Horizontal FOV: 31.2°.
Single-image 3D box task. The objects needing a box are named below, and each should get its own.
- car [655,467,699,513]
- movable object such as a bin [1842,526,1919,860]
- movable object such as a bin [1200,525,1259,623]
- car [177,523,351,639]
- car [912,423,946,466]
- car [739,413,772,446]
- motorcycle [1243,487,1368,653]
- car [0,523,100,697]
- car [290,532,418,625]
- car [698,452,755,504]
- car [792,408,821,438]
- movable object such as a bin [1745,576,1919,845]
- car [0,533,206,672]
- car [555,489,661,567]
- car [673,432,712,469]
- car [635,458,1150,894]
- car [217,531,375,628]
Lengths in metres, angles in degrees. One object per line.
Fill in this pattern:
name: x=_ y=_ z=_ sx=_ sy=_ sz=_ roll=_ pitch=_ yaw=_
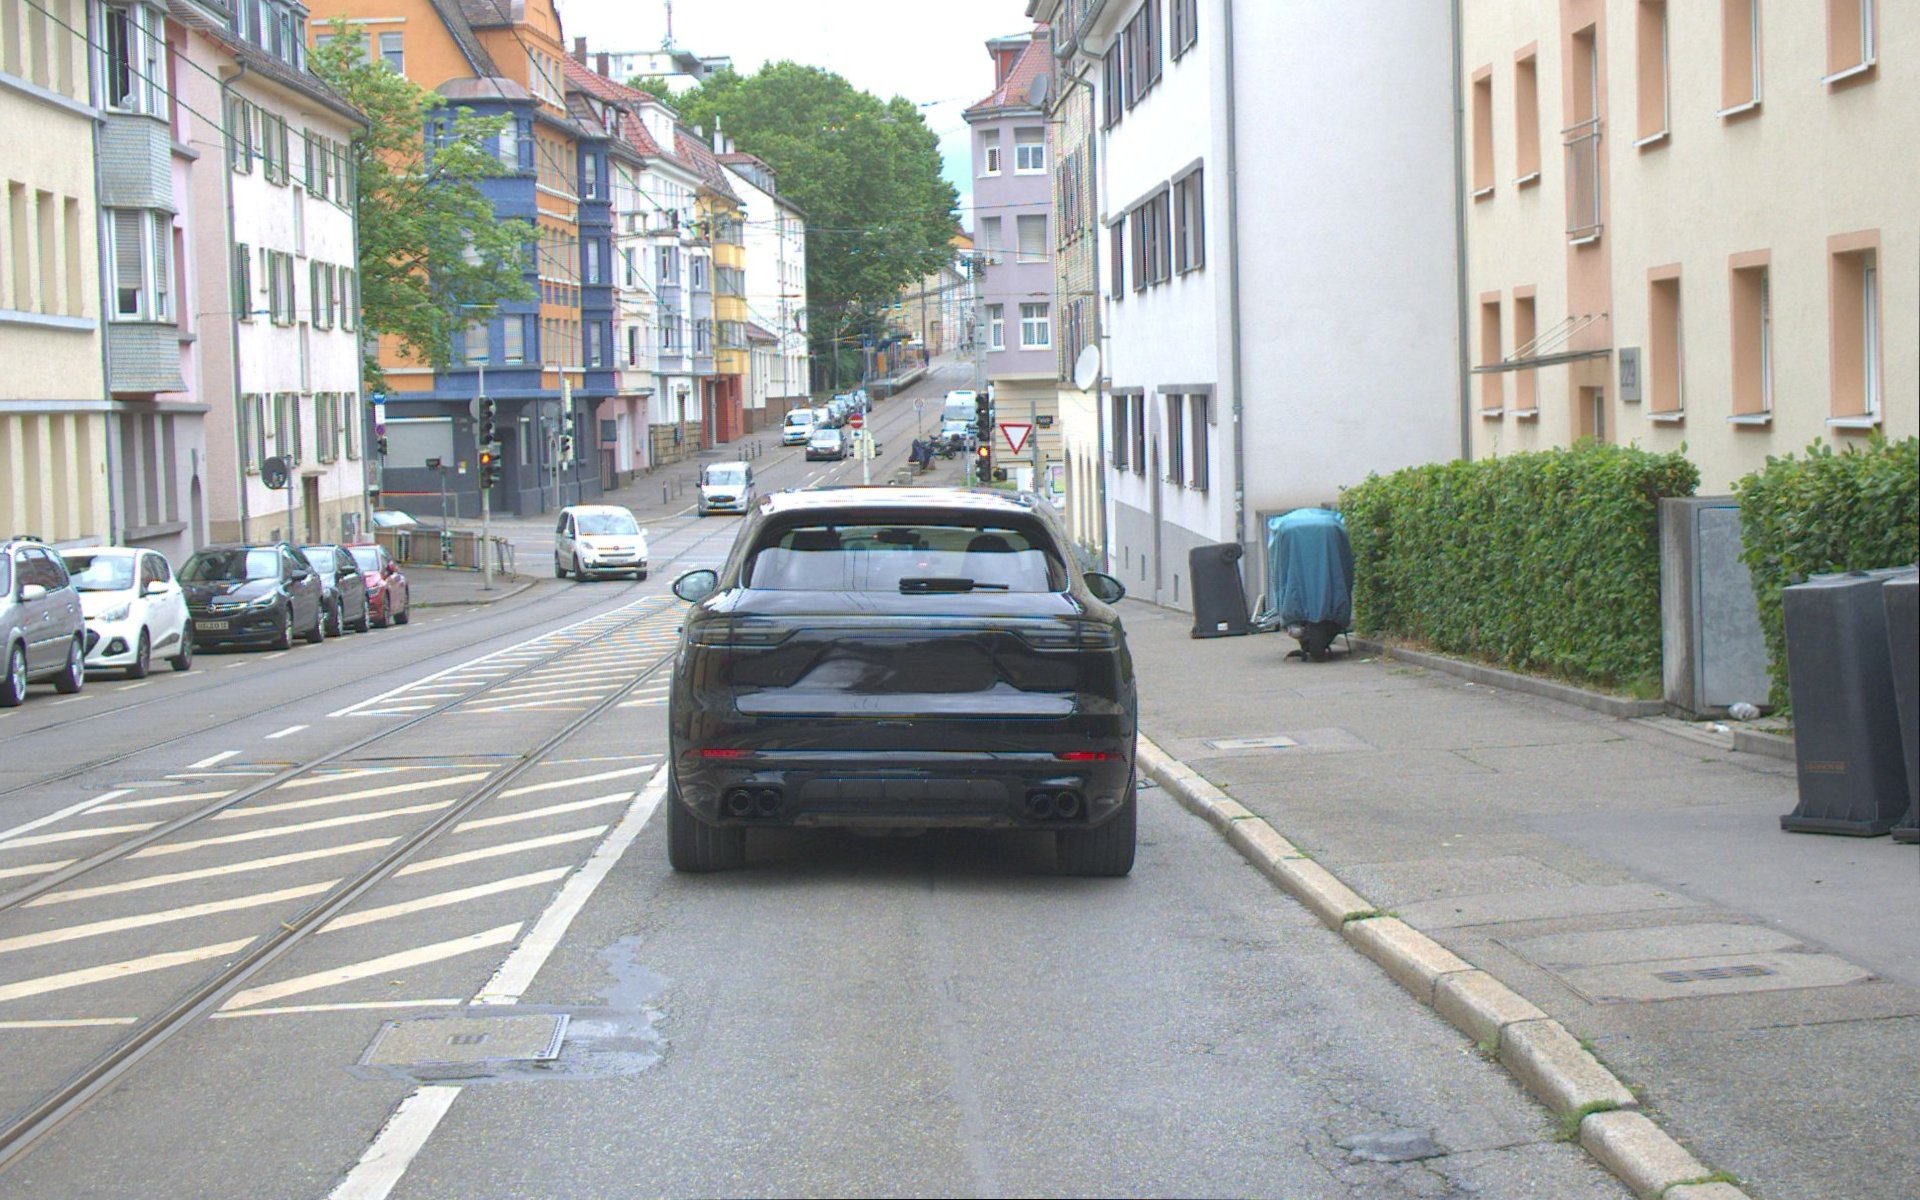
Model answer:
car: x=-10.932 y=-4.240 z=132.913 sx=1.394 sy=1.716 sz=3.359 roll=-2 pitch=1 yaw=-1
movable object such as a bin: x=3.854 y=0.325 z=12.939 sx=0.792 sy=1.214 sz=0.789 roll=-2 pitch=1 yaw=-5
movable object such as a bin: x=3.034 y=-0.299 z=38.701 sx=0.588 sy=1.076 sz=0.692 roll=-2 pitch=1 yaw=1
car: x=-9.612 y=-0.270 z=47.762 sx=1.620 sy=1.468 sz=4.556 roll=-3 pitch=1 yaw=-3
car: x=-1.332 y=-6.599 z=146.230 sx=1.394 sy=1.716 sz=3.359 roll=-2 pitch=1 yaw=-1
car: x=-9.932 y=-8.271 z=166.845 sx=1.394 sy=1.445 sz=3.359 roll=-2 pitch=1 yaw=-1
motorcycle: x=3.177 y=-0.288 z=31.825 sx=0.838 sy=1.451 sz=2.553 roll=-2 pitch=1 yaw=-1
car: x=-9.685 y=0.109 z=33.532 sx=1.620 sy=1.599 sz=4.351 roll=-3 pitch=1 yaw=-3
car: x=-10.451 y=-0.381 z=59.498 sx=1.620 sy=1.485 sz=4.048 roll=-3 pitch=1 yaw=-3
car: x=-8.416 y=-4.389 z=123.994 sx=1.751 sy=1.753 sz=4.254 roll=-2 pitch=1 yaw=-1
car: x=-8.205 y=-9.426 z=183.432 sx=1.394 sy=1.445 sz=3.359 roll=-2 pitch=1 yaw=-1
movable object such as a bin: x=3.660 y=0.425 z=13.737 sx=0.792 sy=1.008 sz=0.789 roll=-2 pitch=1 yaw=-5
car: x=-9.882 y=0.012 z=39.516 sx=1.620 sy=1.458 sz=3.685 roll=-3 pitch=1 yaw=-1
car: x=-8.650 y=-1.742 z=84.213 sx=1.920 sy=1.812 sz=4.219 roll=-2 pitch=1 yaw=-15
car: x=-11.340 y=-6.341 z=145.920 sx=1.394 sy=1.445 sz=3.359 roll=-2 pitch=1 yaw=-1
car: x=-0.326 y=0.265 z=15.651 sx=1.993 sy=1.670 sz=4.000 roll=-2 pitch=1 yaw=-2
car: x=-10.342 y=-0.342 z=53.779 sx=1.736 sy=1.405 sz=4.000 roll=-2 pitch=1 yaw=-1
